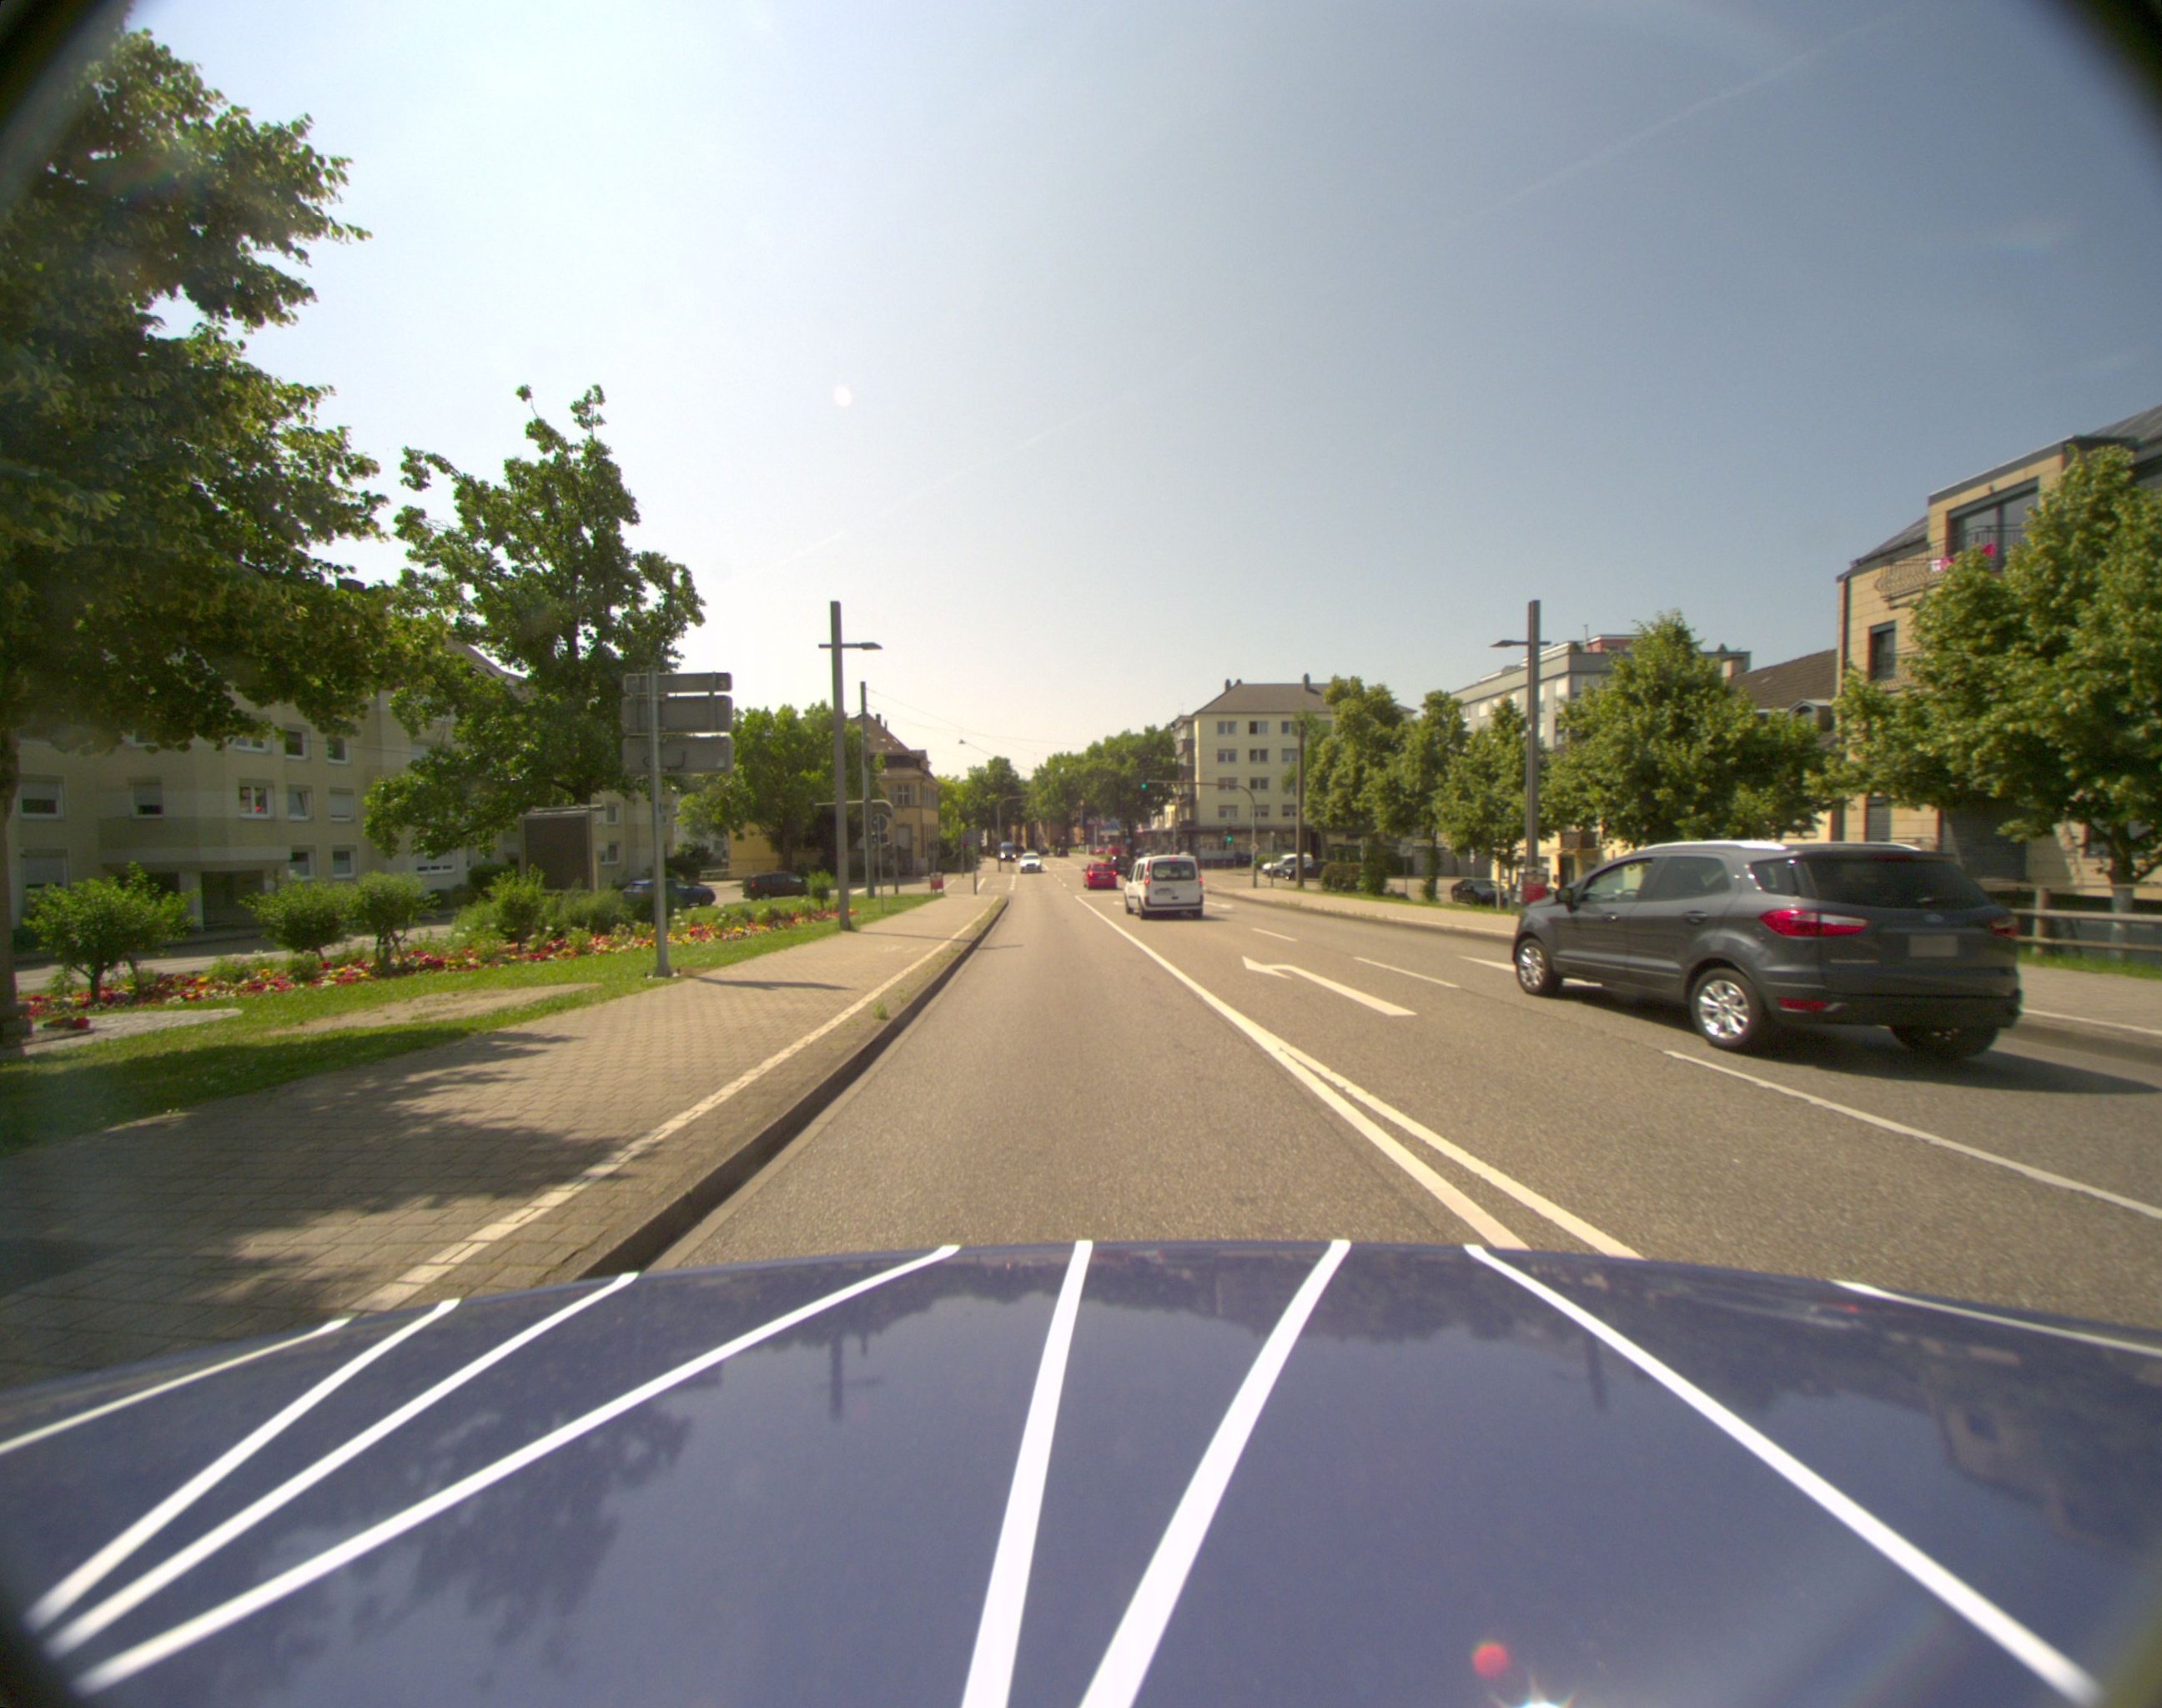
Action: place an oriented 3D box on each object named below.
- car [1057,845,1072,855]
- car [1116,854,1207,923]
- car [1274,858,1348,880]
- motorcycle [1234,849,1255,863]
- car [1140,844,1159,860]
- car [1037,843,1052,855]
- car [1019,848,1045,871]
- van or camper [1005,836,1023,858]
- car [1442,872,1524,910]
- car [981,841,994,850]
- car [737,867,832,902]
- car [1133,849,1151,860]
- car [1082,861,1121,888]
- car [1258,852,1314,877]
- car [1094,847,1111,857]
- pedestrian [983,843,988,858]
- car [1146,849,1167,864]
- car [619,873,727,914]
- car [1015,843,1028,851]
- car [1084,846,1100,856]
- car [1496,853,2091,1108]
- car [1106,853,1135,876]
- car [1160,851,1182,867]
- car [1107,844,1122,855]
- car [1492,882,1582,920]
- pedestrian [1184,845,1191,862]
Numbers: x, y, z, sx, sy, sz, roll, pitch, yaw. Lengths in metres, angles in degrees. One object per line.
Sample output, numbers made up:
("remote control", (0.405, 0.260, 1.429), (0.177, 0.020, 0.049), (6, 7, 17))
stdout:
("car", (-2.434, -0.560, 110.966), (1.842, 1.391, 4.046), (0, 0, -8))
("car", (2.305, 0.980, 23.021), (1.842, 1.849, 4.661), (-1, -1, -5))
("car", (16.709, 1.103, 55.349), (4.620, 1.393, 2.114), (2, 1, -8))
("motorcycle", (16.543, 0.189, 76.933), (1.920, 1.413, 0.713), (-2, 4, -4))
("car", (8.429, -0.237, 93.251), (1.643, 1.829, 3.857), (-2, 1, -5))
("car", (-6.152, -0.820, 127.135), (1.762, 1.552, 4.308), (1, 5, -13))
("car", (-4.286, 0.431, 66.191), (2.000, 1.740, 4.441), (-2, 2, -6))
("van or camper", (-8.699, -0.933, 99.060), (2.165, 2.567, 5.840), (-2, 2, -5))
("car", (21.671, 1.932, 41.237), (1.819, 1.619, 5.285), (2, 2, 3))
("car", (-21.518, -1.962, 174.511), (1.918, 1.718, 3.992), (3, -2, -24))
("car", (-17.425, 1.729, 44.830), (1.912, 1.623, 4.827), (1, 3, 44))
("car", (7.868, -0.010, 98.740), (1.704, 1.279, 3.858), (-2, 2, -5))
("car", (1.127, 1.148, 43.131), (1.652, 1.455, 3.859), (0, -1, -7))
("car", (15.830, 0.784, 58.722), (3.697, 1.725, 1.892), (1, 2, -6))
("car", (3.214, -0.298, 115.674), (1.914, 1.511, 4.330), (-1, 1, -8))
("pedestrian", (-12.252, -0.435, 97.552), (0.621, 1.908, 0.743), (-1, 2, -5))
("car", (8.641, 0.250, 87.380), (1.627, 1.560, 4.836), (-1, 2, -5))
("car", (-21.559, 2.039, 40.375), (1.995, 1.691, 4.775), (1, 3, 25))
("car", (-11.602, -1.326, 147.407), (1.623, 1.447, 3.703), (3, 0, -17))
("car", (1.823, -0.528, 125.904), (1.914, 1.511, 4.330), (-1, 1, -8))
("car", (5.719, 0.823, 6.926), (1.741, 1.631, 3.921), (1, 0, 1))
("car", (3.093, 0.813, 59.753), (1.719, 1.477, 4.028), (-4, 2, -4))
("car", (9.386, 0.505, 79.469), (1.587, 1.450, 3.937), (-1, 2, -5))
("car", (4.649, -0.637, 105.013), (1.640, 1.460, 3.632), (0, 2, -4))
("car", (21.409, 2.169, 35.903), (1.780, 1.424, 4.430), (-2, 0, 3))
("pedestrian", (11.101, -0.032, 79.162), (0.629, 1.750, 0.742), (-1, 3, -5))
